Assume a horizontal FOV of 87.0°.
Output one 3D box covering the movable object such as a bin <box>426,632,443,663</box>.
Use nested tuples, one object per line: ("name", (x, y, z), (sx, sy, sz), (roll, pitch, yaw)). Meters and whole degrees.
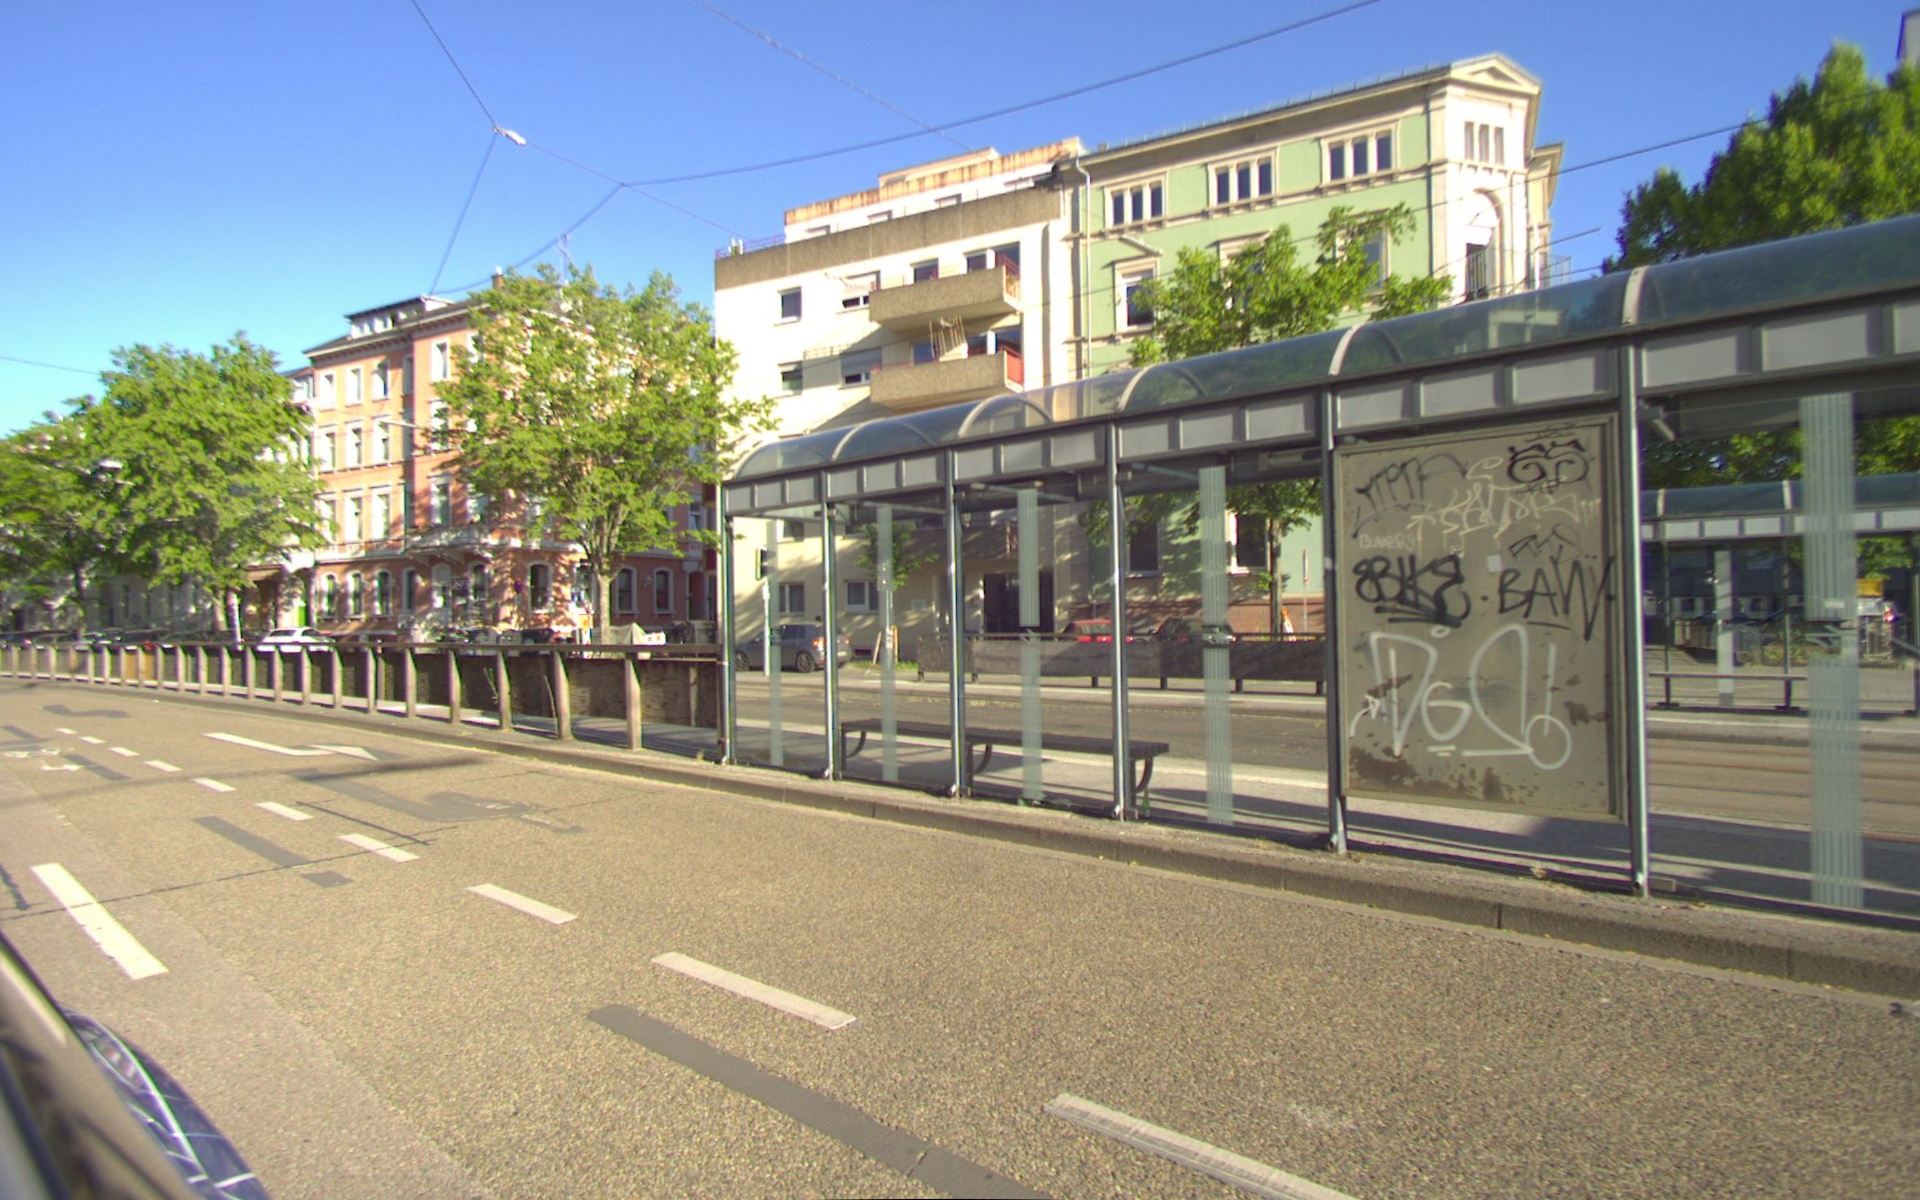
("movable object such as a bin", (-21.054, 1.899, 40.541), (0.639, 1.212, 0.375), (-2, -2, 40))

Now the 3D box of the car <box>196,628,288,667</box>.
("car", (-33.750, 2.188, 47.679), (1.664, 1.519, 3.926), (-2, 1, -4))

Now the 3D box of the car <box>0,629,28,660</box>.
("car", (-60.289, 2.809, 62.455), (1.760, 1.812, 4.202), (-1, 1, -1))

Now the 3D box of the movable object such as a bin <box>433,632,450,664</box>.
("movable object such as a bin", (-20.539, 1.895, 40.086), (0.639, 1.251, 0.375), (-2, -2, 40))

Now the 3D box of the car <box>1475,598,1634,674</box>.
("car", (13.695, 0.757, 23.630), (1.572, 1.581, 4.504), (-1, 0, 8))

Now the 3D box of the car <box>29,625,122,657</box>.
("car", (-47.883, 2.204, 54.862), (1.745, 1.496, 3.823), (-1, 1, -1))

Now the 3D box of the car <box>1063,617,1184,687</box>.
("car", (3.850, 1.183, 24.679), (1.845, 1.436, 4.521), (-1, 0, -5))

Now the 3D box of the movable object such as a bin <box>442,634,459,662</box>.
("movable object such as a bin", (-19.955, 1.883, 39.669), (0.639, 1.076, 0.375), (-2, -2, 40))

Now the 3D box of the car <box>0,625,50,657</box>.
("car", (-55.144, 2.384, 58.463), (1.748, 1.666, 3.872), (-1, 0, -1))

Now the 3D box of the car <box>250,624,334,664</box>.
("car", (-30.585, 1.972, 46.482), (1.708, 1.533, 3.924), (-2, 1, -9))

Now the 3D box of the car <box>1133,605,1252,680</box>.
("car", (5.720, 0.984, 25.455), (1.566, 1.654, 4.521), (-1, 0, -5))

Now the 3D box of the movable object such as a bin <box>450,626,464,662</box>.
("movable object such as a bin", (-20.227, 1.754, 40.721), (0.387, 1.437, 0.375), (-2, -2, 40))

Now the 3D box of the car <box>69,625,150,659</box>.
("car", (-45.724, 2.250, 54.490), (1.682, 1.544, 3.284), (-2, 2, -4))

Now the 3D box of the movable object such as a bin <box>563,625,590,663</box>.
("movable object such as a bin", (-15.203, 1.728, 40.102), (1.144, 1.469, 0.422), (0, -1, 34))

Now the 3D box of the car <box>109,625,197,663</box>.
("car", (-40.517, 2.161, 50.935), (1.609, 1.629, 3.993), (-2, 1, -7))

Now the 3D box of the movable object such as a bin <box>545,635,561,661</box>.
("movable object such as a bin", (-17.313, 2.039, 43.033), (0.551, 1.107, 0.376), (-2, -2, 34))

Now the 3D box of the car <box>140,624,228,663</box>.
("car", (-38.009, 2.099, 49.692), (1.609, 1.629, 3.993), (-2, 1, -7))

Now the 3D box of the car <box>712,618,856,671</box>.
("car", (-5.383, 1.337, 30.825), (4.278, 1.421, 1.693), (-1, 1, 32))

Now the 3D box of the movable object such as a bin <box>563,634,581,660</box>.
("movable object such as a bin", (-15.739, 1.897, 41.022), (0.551, 1.041, 0.443), (0, -1, 34))

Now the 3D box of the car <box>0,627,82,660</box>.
("car", (-52.063, 2.437, 57.100), (1.748, 1.666, 3.871), (-1, 0, -1))

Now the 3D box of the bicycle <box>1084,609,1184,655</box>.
("bicycle", (5.447, 1.005, 31.793), (2.995, 1.409, 0.713), (-1, -1, 27))

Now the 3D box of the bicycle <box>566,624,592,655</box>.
("bicycle", (-14.175, 1.477, 37.612), (1.404, 1.125, 0.261), (-2, -2, 40))

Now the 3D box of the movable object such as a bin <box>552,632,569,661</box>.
("movable object such as a bin", (-16.067, 1.868, 40.700), (0.551, 1.105, 0.376), (0, -1, 34))

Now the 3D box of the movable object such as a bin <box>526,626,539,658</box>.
("movable object such as a bin", (-17.886, 1.756, 42.352), (0.386, 1.322, 0.376), (-2, -2, 34))

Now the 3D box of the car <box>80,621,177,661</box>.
("car", (-43.260, 2.085, 52.769), (1.682, 1.735, 4.291), (-1, 2, -4))

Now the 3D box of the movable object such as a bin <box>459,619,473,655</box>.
("movable object such as a bin", (-19.792, 1.485, 40.519), (0.385, 1.437, 0.375), (-2, -2, 40))

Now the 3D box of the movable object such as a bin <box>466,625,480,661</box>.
("movable object such as a bin", (-19.339, 1.711, 40.214), (0.387, 1.437, 0.375), (-2, -2, 40))
